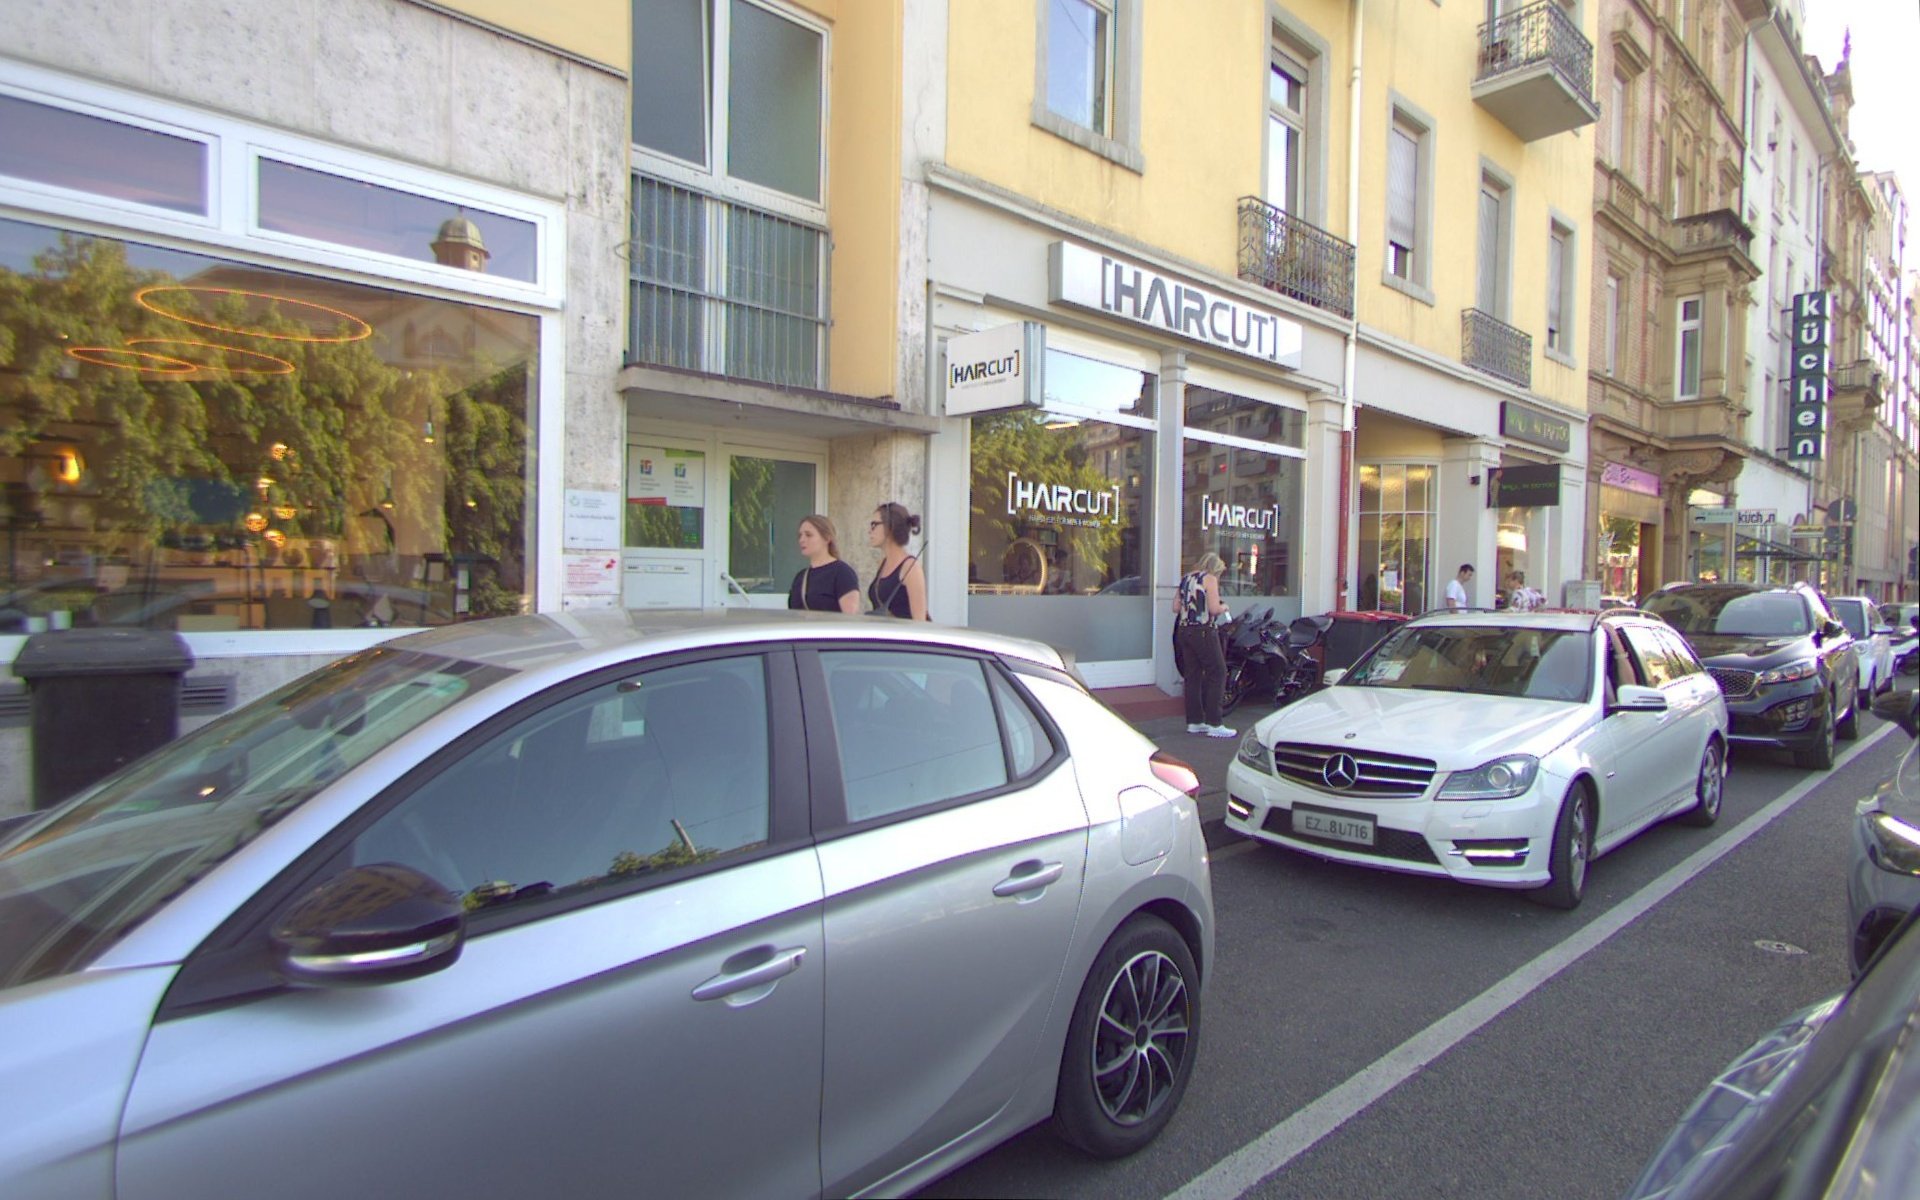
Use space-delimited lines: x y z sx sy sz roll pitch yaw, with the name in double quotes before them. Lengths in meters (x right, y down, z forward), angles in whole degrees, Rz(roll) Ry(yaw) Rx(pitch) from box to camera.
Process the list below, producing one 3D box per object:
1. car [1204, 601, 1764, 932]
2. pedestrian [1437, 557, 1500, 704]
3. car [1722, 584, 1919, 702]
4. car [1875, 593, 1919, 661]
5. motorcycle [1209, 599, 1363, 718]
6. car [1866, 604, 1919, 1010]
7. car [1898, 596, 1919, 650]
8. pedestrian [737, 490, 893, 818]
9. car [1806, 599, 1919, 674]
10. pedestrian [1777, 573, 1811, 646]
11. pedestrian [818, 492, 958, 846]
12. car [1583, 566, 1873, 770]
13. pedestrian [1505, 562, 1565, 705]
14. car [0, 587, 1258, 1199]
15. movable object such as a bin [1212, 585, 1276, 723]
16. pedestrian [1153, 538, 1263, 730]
"car" 3.540 0.719 6.431 4.302 1.376 1.703 -1 1 -41
"pedestrian" 7.036 0.412 14.007 0.679 2.008 0.375 1 1 -18
"car" 13.120 0.541 15.338 4.016 1.546 1.800 -1 0 -42
"car" 22.212 0.569 23.052 4.016 1.450 1.657 -1 0 -42
"motorcycle" 3.430 0.564 10.552 1.920 1.091 0.567 -1 4 -41
"car" 5.272 0.704 4.179 3.930 1.376 1.801 -1 1 -41
"car" 26.595 0.588 27.131 3.773 1.357 1.800 -1 1 -42
"pedestrian" -0.844 0.291 5.966 0.733 1.806 0.565 1 0 18
"car" 18.158 0.651 19.909 4.016 1.282 1.800 -1 1 -42
"pedestrian" 21.826 0.236 26.492 0.653 1.874 0.574 0 0 -40
"pedestrian" -0.348 0.324 5.179 0.635 1.686 0.659 1 0 2
"car" 7.979 0.531 10.356 4.176 1.659 1.799 -1 1 -45
"pedestrian" 7.745 0.433 13.648 0.567 1.874 0.661 0 0 19
"car" -0.988 0.697 2.262 3.597 1.445 1.549 -1 1 -42
"movable object such as a bin" 2.694 0.498 9.606 0.387 1.253 0.391 0 3 -41
"pedestrian" 2.274 0.277 9.319 0.595 1.674 0.719 0 3 -40
